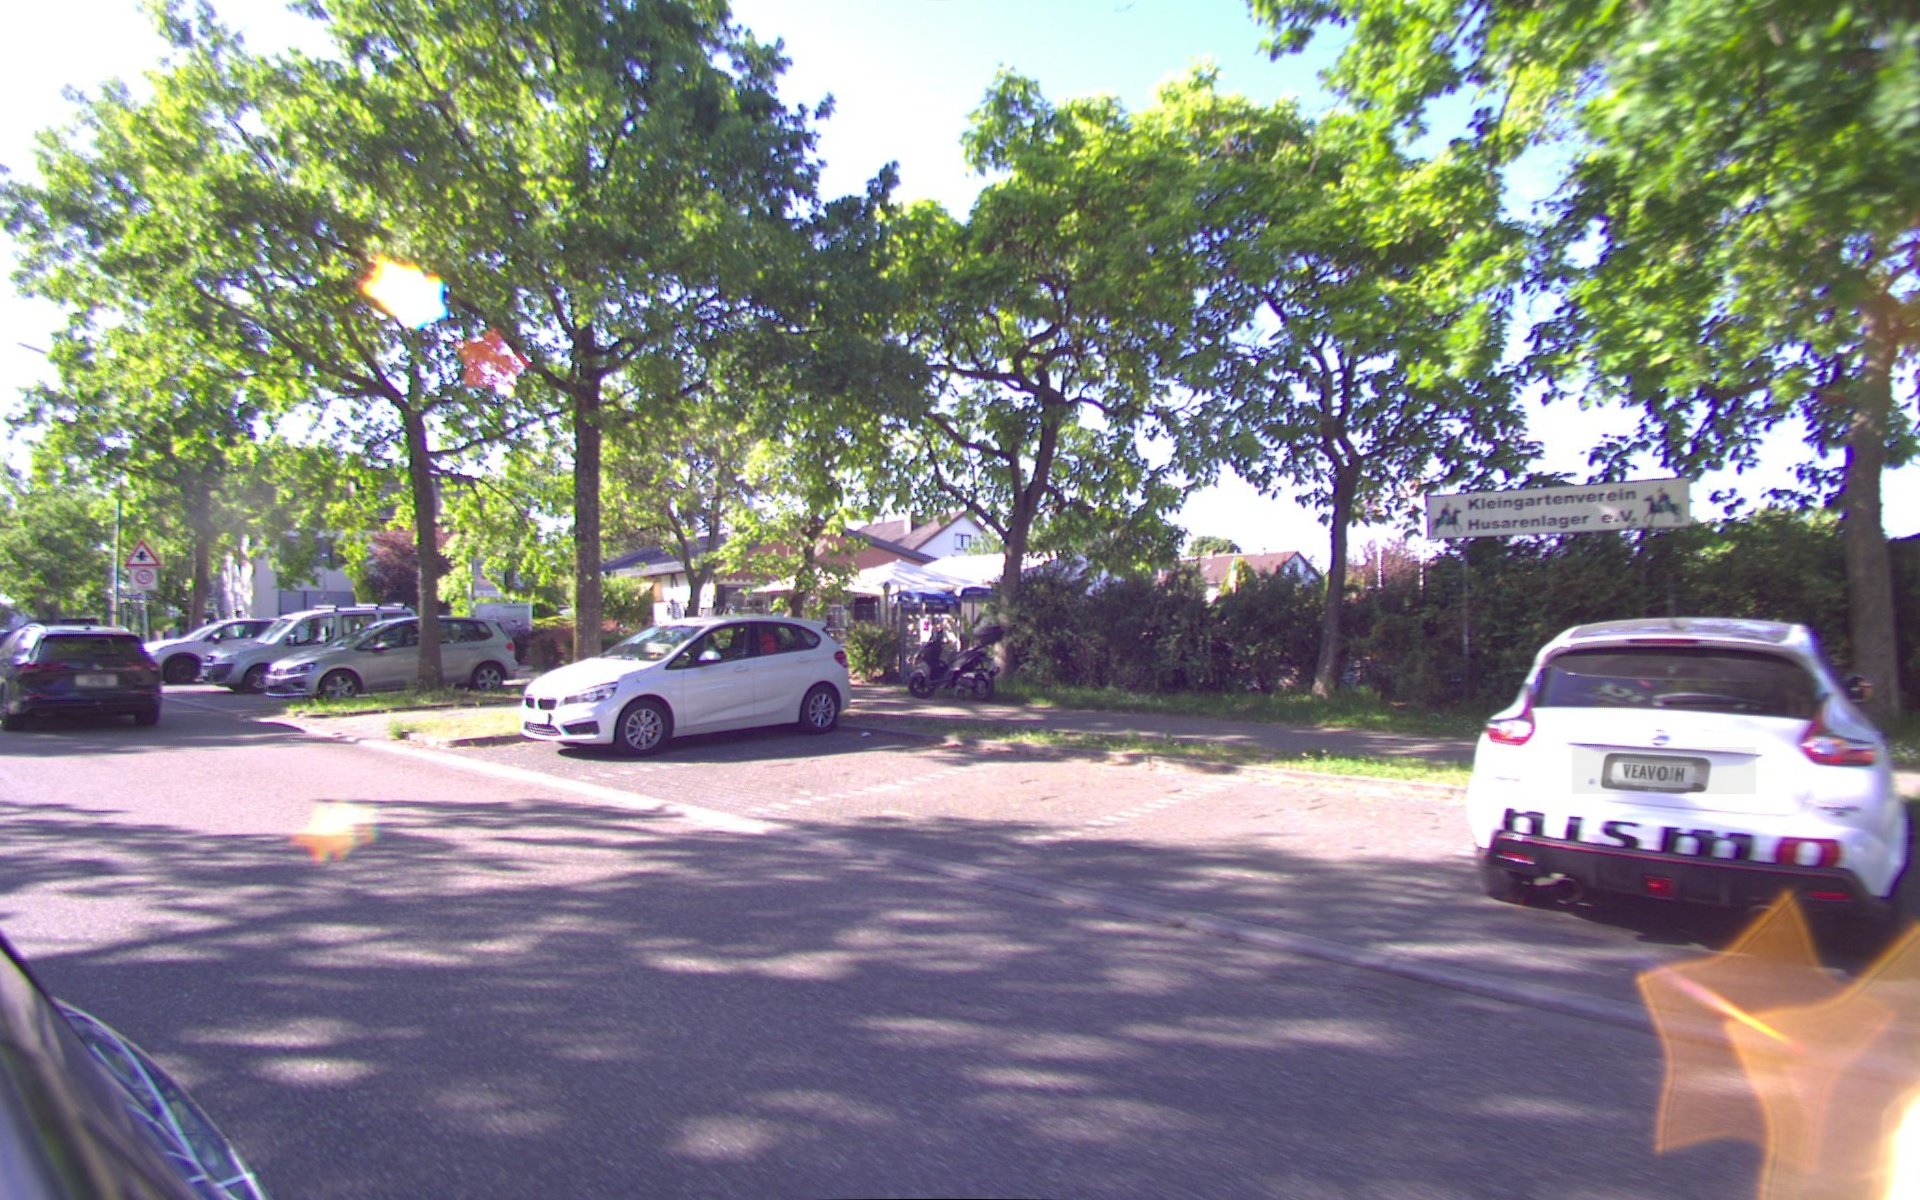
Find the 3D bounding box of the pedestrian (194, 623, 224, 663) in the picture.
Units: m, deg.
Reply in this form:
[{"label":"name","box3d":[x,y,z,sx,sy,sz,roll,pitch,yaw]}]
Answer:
[{"label":"pedestrian","box3d":[-29.786,1.688,40.136,0.866,1.554,0.719,1,-1,38]}]

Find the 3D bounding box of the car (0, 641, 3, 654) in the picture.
[{"label":"car","box3d":[-138.922,6.782,145.441,1.911,1.791,4.043,2,-3,-42]}]

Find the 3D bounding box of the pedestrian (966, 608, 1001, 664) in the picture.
[{"label":"pedestrian","box3d":[0.608,0.929,26.345,0.635,1.425,0.667,1,-2,-32]}]

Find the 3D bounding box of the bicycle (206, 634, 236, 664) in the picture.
[{"label":"bicycle","box3d":[-29.382,1.930,40.213,1.892,1.096,0.632,1,-1,44]}]

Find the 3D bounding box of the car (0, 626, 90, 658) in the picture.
[{"label":"car","box3d":[-54.075,2.472,59.748,3.978,1.791,1.943,2,-3,-43]}]

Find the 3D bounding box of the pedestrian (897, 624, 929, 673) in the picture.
[{"label":"pedestrian","box3d":[-1.380,1.436,29.908,0.661,1.425,0.863,-1,-2,21]}]

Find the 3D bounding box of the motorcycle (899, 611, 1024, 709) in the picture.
[{"label":"motorcycle","box3d":[0.001,0.936,16.316,1.990,1.443,0.730,-2,1,41]}]

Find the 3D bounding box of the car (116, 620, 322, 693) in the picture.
[{"label":"car","box3d":[-19.054,1.391,26.134,1.876,1.655,4.019,-2,-1,43]}]

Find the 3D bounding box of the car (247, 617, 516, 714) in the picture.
[{"label":"car","box3d":[-10.955,1.162,19.364,1.865,1.568,4.092,-2,-1,42]}]

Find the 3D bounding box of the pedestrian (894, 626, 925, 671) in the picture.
[{"label":"pedestrian","box3d":[-1.558,1.479,31.140,0.654,1.345,0.872,1,-2,-29]}]

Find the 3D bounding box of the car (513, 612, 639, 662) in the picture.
[{"label":"car","box3d":[-19.723,1.905,52.140,5.730,2.472,2.003,2,-3,-40]}]

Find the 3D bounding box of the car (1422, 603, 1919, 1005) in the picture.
[{"label":"car","box3d":[4.521,0.820,6.098,2.086,1.522,4.368,-2,-1,39]}]

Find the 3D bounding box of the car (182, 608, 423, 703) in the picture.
[{"label":"car","box3d":[-14.761,1.171,22.876,1.997,1.898,4.184,-2,-1,40]}]

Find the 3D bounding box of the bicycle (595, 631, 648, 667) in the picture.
[{"label":"bicycle","box3d":[-10.562,1.524,31.577,1.880,1.096,0.633,-1,-3,38]}]

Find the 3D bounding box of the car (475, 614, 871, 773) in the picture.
[{"label":"car","box3d":[-3.439,1.009,12.750,2.088,1.568,4.365,-2,-1,42]}]

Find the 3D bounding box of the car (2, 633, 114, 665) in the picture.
[{"label":"car","box3d":[-43.783,2.340,49.179,3.978,1.490,1.943,2,-3,-43]}]

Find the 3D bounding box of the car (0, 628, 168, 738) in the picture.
[{"label":"car","box3d":[-13.405,1.149,15.034,4.423,1.413,1.667,-2,-3,40]}]
